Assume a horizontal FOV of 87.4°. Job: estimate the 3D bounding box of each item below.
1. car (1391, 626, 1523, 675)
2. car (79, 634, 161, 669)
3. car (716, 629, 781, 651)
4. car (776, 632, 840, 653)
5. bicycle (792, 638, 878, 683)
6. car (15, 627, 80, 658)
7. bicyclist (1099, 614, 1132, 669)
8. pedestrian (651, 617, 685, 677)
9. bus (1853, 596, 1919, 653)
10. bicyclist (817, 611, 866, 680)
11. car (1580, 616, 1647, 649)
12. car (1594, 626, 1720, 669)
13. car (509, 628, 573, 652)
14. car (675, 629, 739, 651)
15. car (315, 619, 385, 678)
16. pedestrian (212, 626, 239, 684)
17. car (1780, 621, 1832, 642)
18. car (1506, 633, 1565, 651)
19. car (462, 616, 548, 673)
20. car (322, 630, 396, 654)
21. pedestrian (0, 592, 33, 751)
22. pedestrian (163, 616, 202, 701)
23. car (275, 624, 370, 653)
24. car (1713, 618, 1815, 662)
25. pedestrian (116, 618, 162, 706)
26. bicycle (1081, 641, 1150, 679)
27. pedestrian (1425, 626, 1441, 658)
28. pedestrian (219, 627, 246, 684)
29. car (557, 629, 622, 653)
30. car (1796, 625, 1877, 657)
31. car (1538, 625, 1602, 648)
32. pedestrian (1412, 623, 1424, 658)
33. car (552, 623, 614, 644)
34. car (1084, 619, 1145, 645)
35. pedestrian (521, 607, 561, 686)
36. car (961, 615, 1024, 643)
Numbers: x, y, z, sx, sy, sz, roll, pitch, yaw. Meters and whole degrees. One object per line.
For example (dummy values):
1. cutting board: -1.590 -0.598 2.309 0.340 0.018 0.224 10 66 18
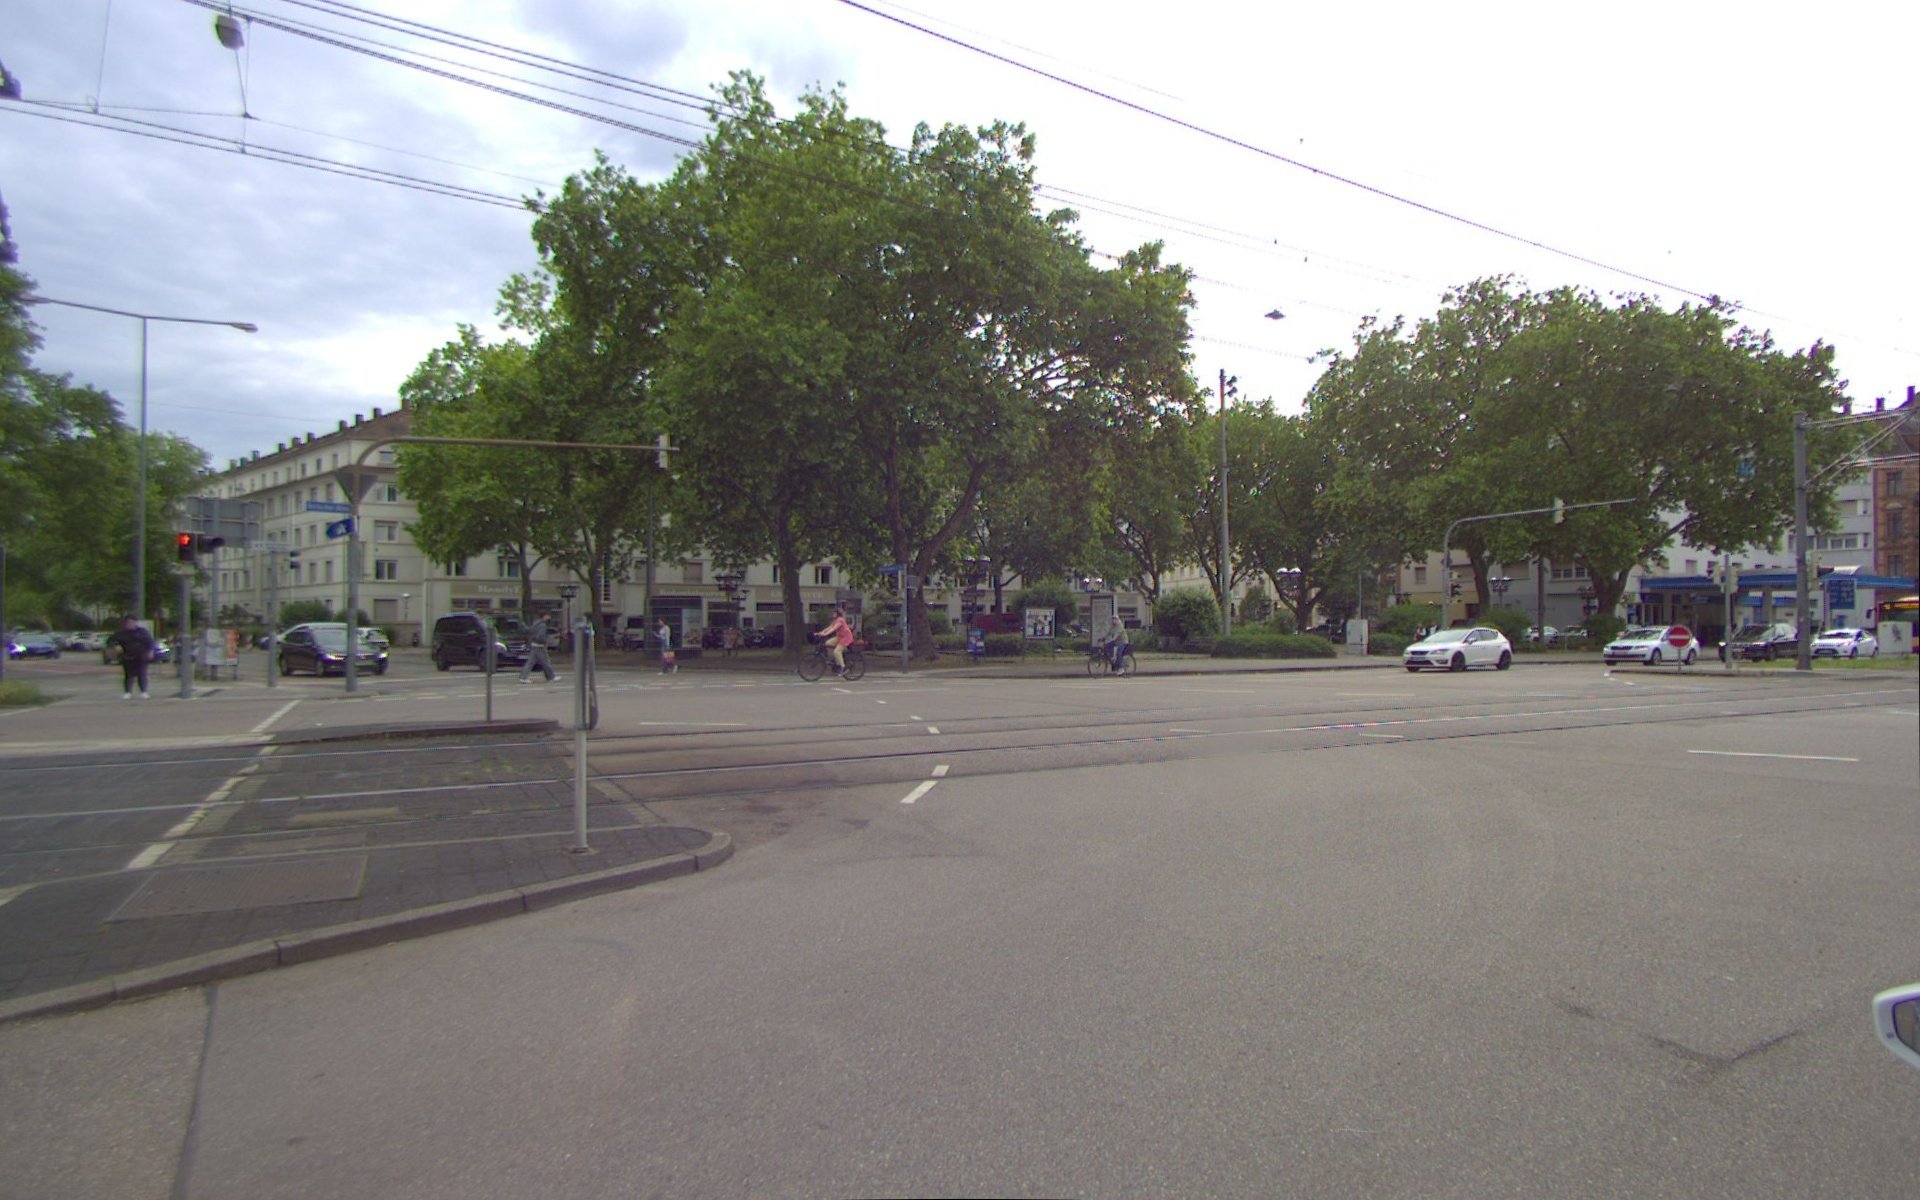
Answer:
1. car: 16.568 1.640 33.457 4.361 1.467 1.833 1 0 -30
2. car: -37.513 2.266 44.834 3.933 1.439 1.756 -1 -1 34
3. car: -14.470 2.693 68.616 4.767 1.408 2.071 -1 -2 44
4. car: -10.803 2.955 71.066 4.767 1.408 2.071 -1 -2 44
5. bicycle: -3.062 1.478 24.687 1.969 1.078 0.724 1 -3 -31
6. car: -52.104 2.395 57.333 3.934 1.706 1.929 -1 -1 35
7. bicyclist: 4.546 1.219 29.411 0.748 1.582 0.580 1 -3 -30
8. pedestrian: -8.469 1.345 29.098 0.748 1.712 0.799 1 -1 -34
9. bus: 53.795 1.316 55.178 12.230 2.894 3.267 1 0 -29
10. bicyclist: -2.929 1.122 24.787 0.982 1.659 0.702 1 -3 -30
11. car: 41.368 2.025 63.588 3.952 2.040 1.984 1 -1 -30
12. car: 27.392 1.812 39.416 5.635 1.546 1.832 1 0 -30
13. car: -25.987 2.451 62.250 4.767 1.408 1.988 -1 -2 44
14. car: -16.975 2.670 67.238 4.767 1.408 1.988 -1 -2 44
15. car: -19.253 1.536 31.645 1.648 1.741 3.703 1 -4 -36
16. pedestrian: -17.786 1.327 24.329 0.384 1.383 0.416 1 0 33
17. car: 58.590 2.160 69.593 3.363 1.377 1.695 1 0 -29
18. car: 39.322 2.835 68.602 3.961 1.190 1.720 1 -1 -30
19. car: -14.926 1.481 32.864 1.894 1.741 3.703 1 -4 -36
20. car: -39.245 2.698 65.649 3.919 1.506 1.804 0 -1 10
21. pedestrian: -11.020 0.790 11.365 0.619 1.774 0.652 1 0 -28
22. pedestrian: -15.355 1.142 19.837 0.360 1.633 0.504 1 0 28
23. car: -38.953 2.326 61.439 4.788 1.686 1.979 1 -2 -37
24. car: 34.946 1.692 43.632 5.087 1.807 1.695 1 0 -29
25. pedestrian: -15.773 1.176 19.303 0.517 1.633 0.523 1 0 28
26. bicycle: 4.542 1.753 29.335 1.969 1.078 0.724 1 -3 -30
27. pedestrian: 20.134 1.793 42.756 0.465 1.343 0.452 1 -1 -36
28. pedestrian: -18.016 1.360 24.876 0.384 1.383 0.416 1 0 33
29. car: -23.365 2.539 63.277 4.767 1.408 1.988 -1 -2 44
30. car: 41.710 1.916 47.787 3.843 1.416 1.695 1 0 -29
31. car: 40.176 2.387 66.123 3.952 1.486 1.984 1 -1 -30
32. pedestrian: 19.692 1.751 43.201 0.370 1.498 0.358 1 -1 -36
33. car: -26.944 2.374 71.825 3.953 1.506 1.788 1 -1 -30
34. car: 12.909 2.644 84.071 4.767 2.129 2.071 -1 -2 44
35. pedestrian: -10.464 1.143 25.091 0.679 1.911 0.684 1 0 44
36. car: 2.495 2.248 77.661 4.767 2.129 2.071 -1 -2 44
